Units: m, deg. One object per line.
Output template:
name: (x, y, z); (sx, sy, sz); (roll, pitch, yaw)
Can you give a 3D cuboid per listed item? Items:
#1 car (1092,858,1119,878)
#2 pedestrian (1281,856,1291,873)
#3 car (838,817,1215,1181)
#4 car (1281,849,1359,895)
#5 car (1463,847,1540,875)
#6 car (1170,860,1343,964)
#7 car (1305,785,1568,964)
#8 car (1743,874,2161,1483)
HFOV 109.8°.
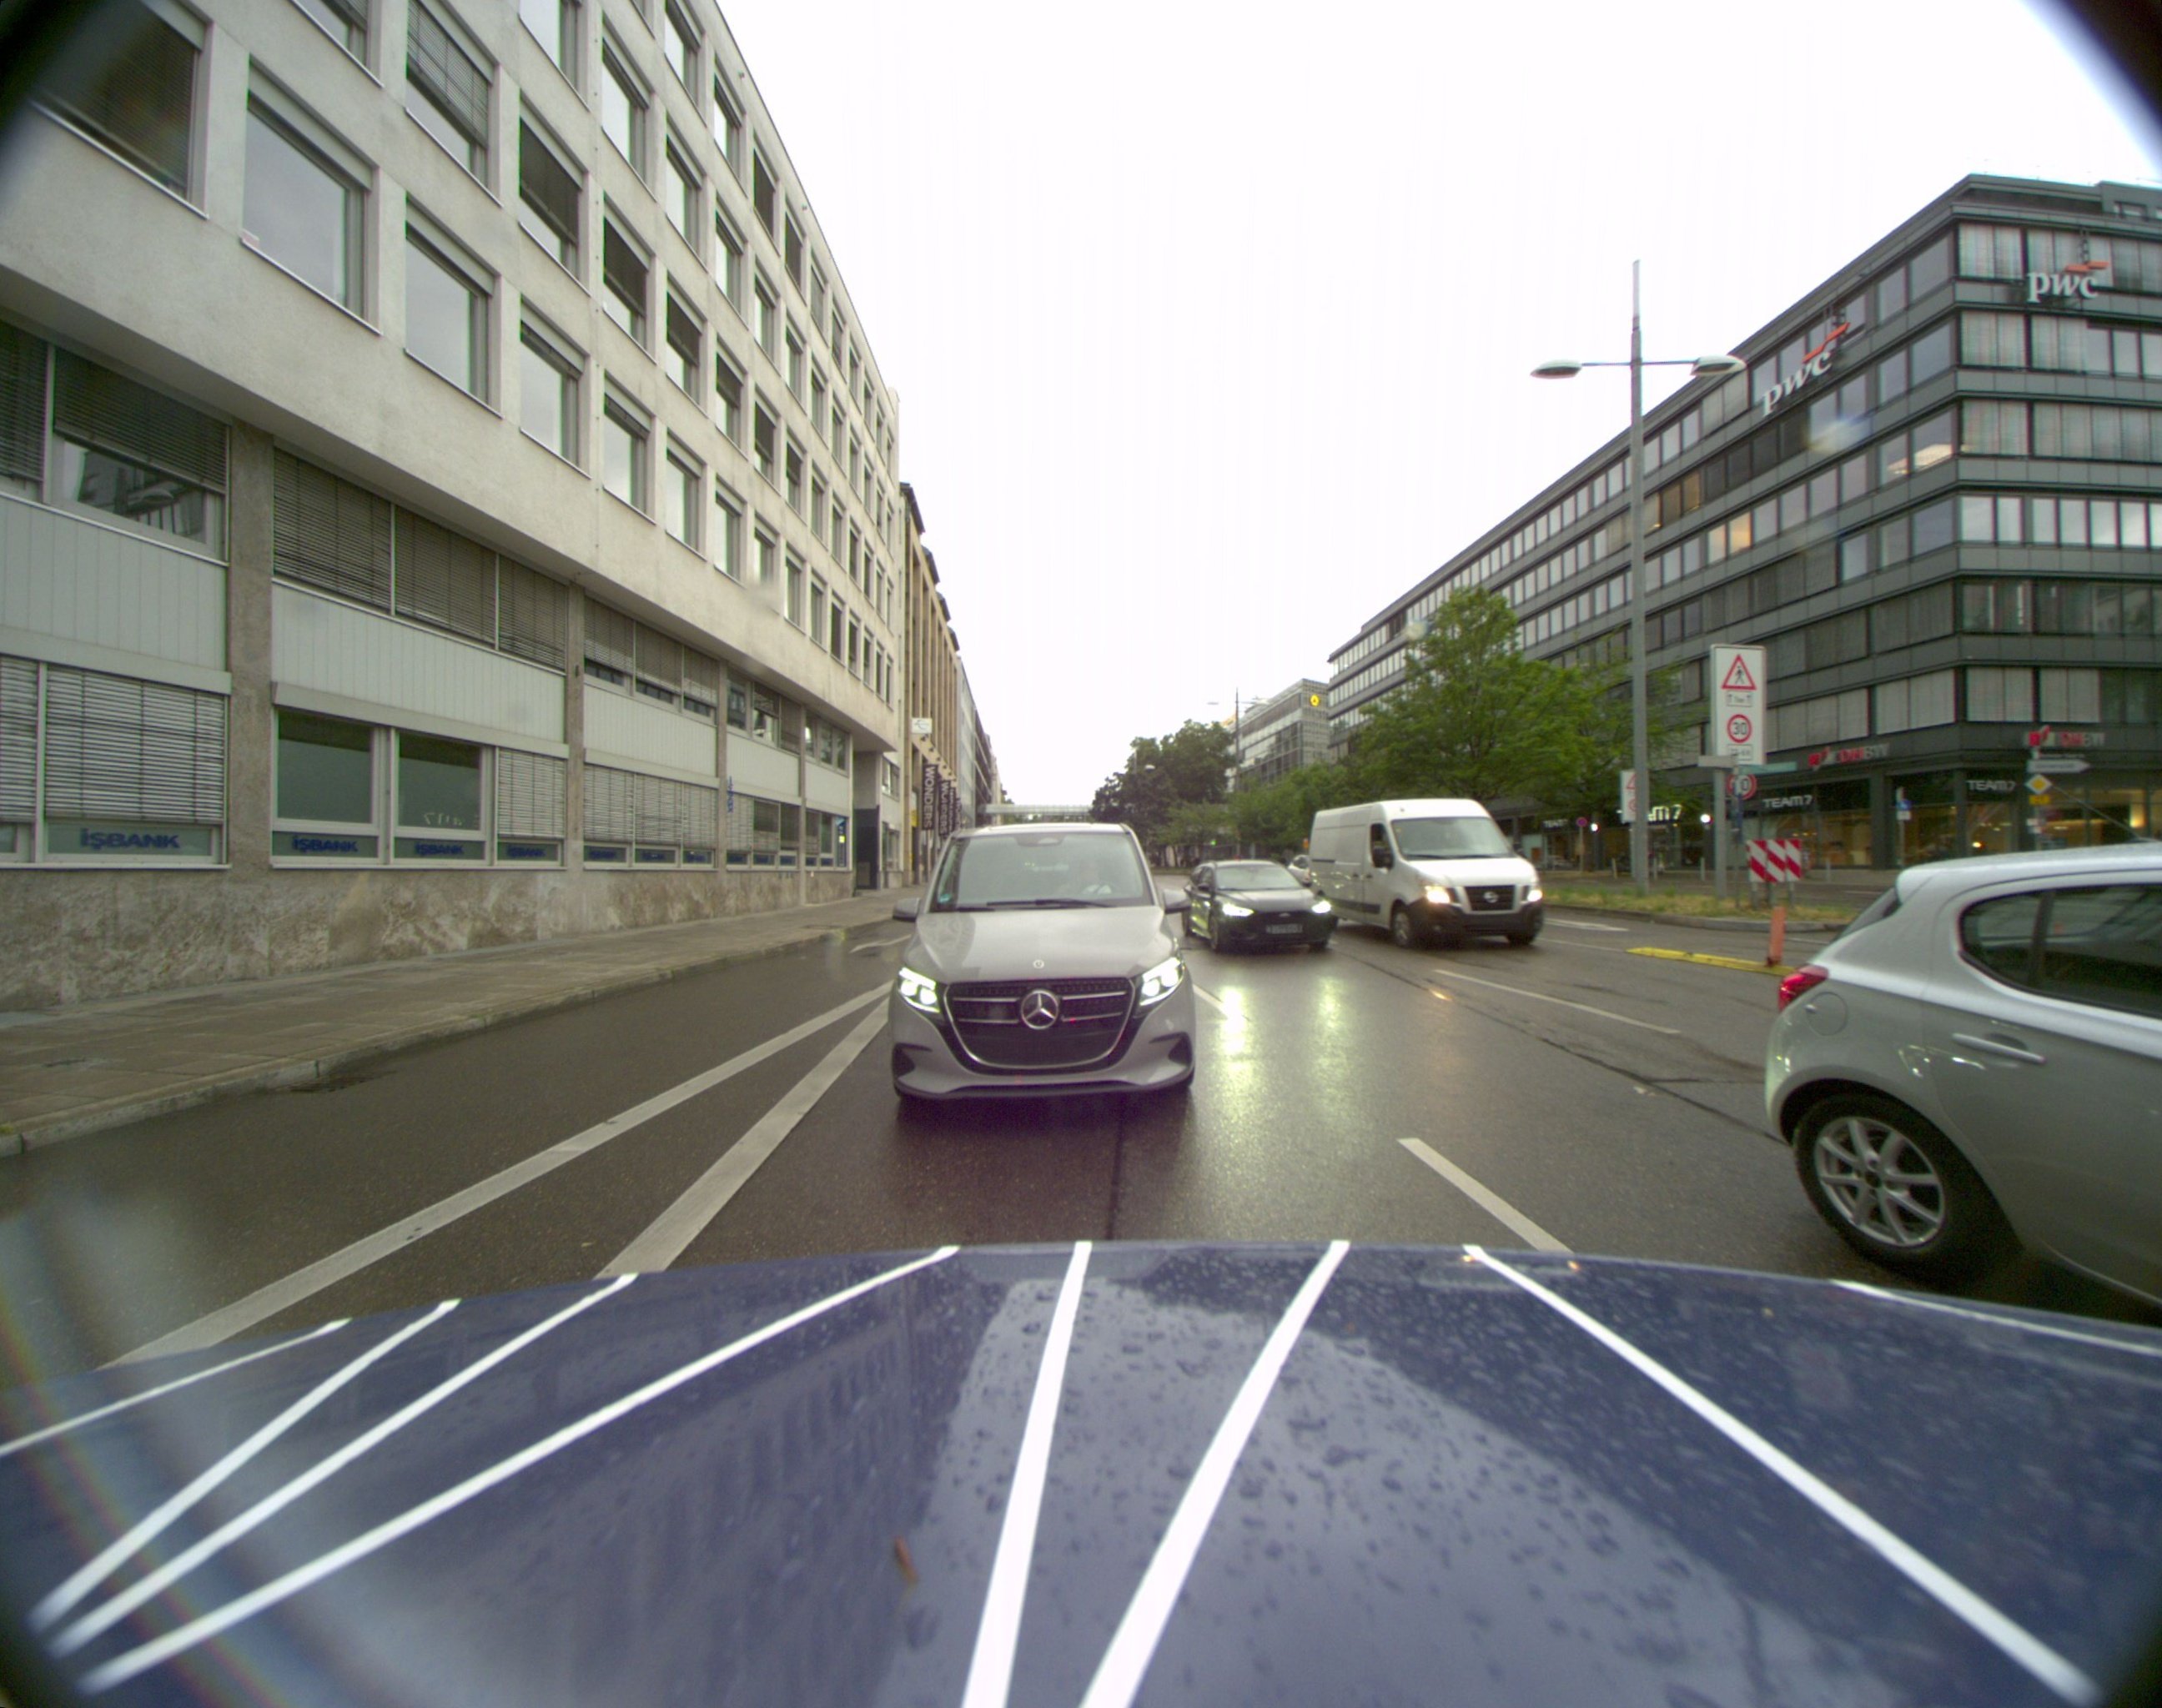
car: (1.838, 1.058, 57.881); (1.776, 1.372, 4.094); (-2, 0, -1)
pedestrian: (24.525, 1.199, 90.939); (0.928, 2.002, 0.539); (-2, 0, -1)
car: (-0.301, 0.768, 6.509); (1.916, 1.844, 5.026); (-2, 0, 0)
car: (8.961, 0.644, 28.773); (1.766, 1.608, 3.495); (-2, 0, -1)
car: (24.087, 0.383, 43.662); (1.999, 1.498, 3.999); (-2, 0, -4)
car: (2.795, 0.863, 13.091); (1.776, 1.427, 4.093); (-2, 0, -4)
car: (5.790, 0.294, 13.381); (1.951, 2.426, 5.480); (-2, 0, 0)
car: (3.491, 0.817, 1.092); (1.652, 1.427, 3.875); (-2, 0, 0)
